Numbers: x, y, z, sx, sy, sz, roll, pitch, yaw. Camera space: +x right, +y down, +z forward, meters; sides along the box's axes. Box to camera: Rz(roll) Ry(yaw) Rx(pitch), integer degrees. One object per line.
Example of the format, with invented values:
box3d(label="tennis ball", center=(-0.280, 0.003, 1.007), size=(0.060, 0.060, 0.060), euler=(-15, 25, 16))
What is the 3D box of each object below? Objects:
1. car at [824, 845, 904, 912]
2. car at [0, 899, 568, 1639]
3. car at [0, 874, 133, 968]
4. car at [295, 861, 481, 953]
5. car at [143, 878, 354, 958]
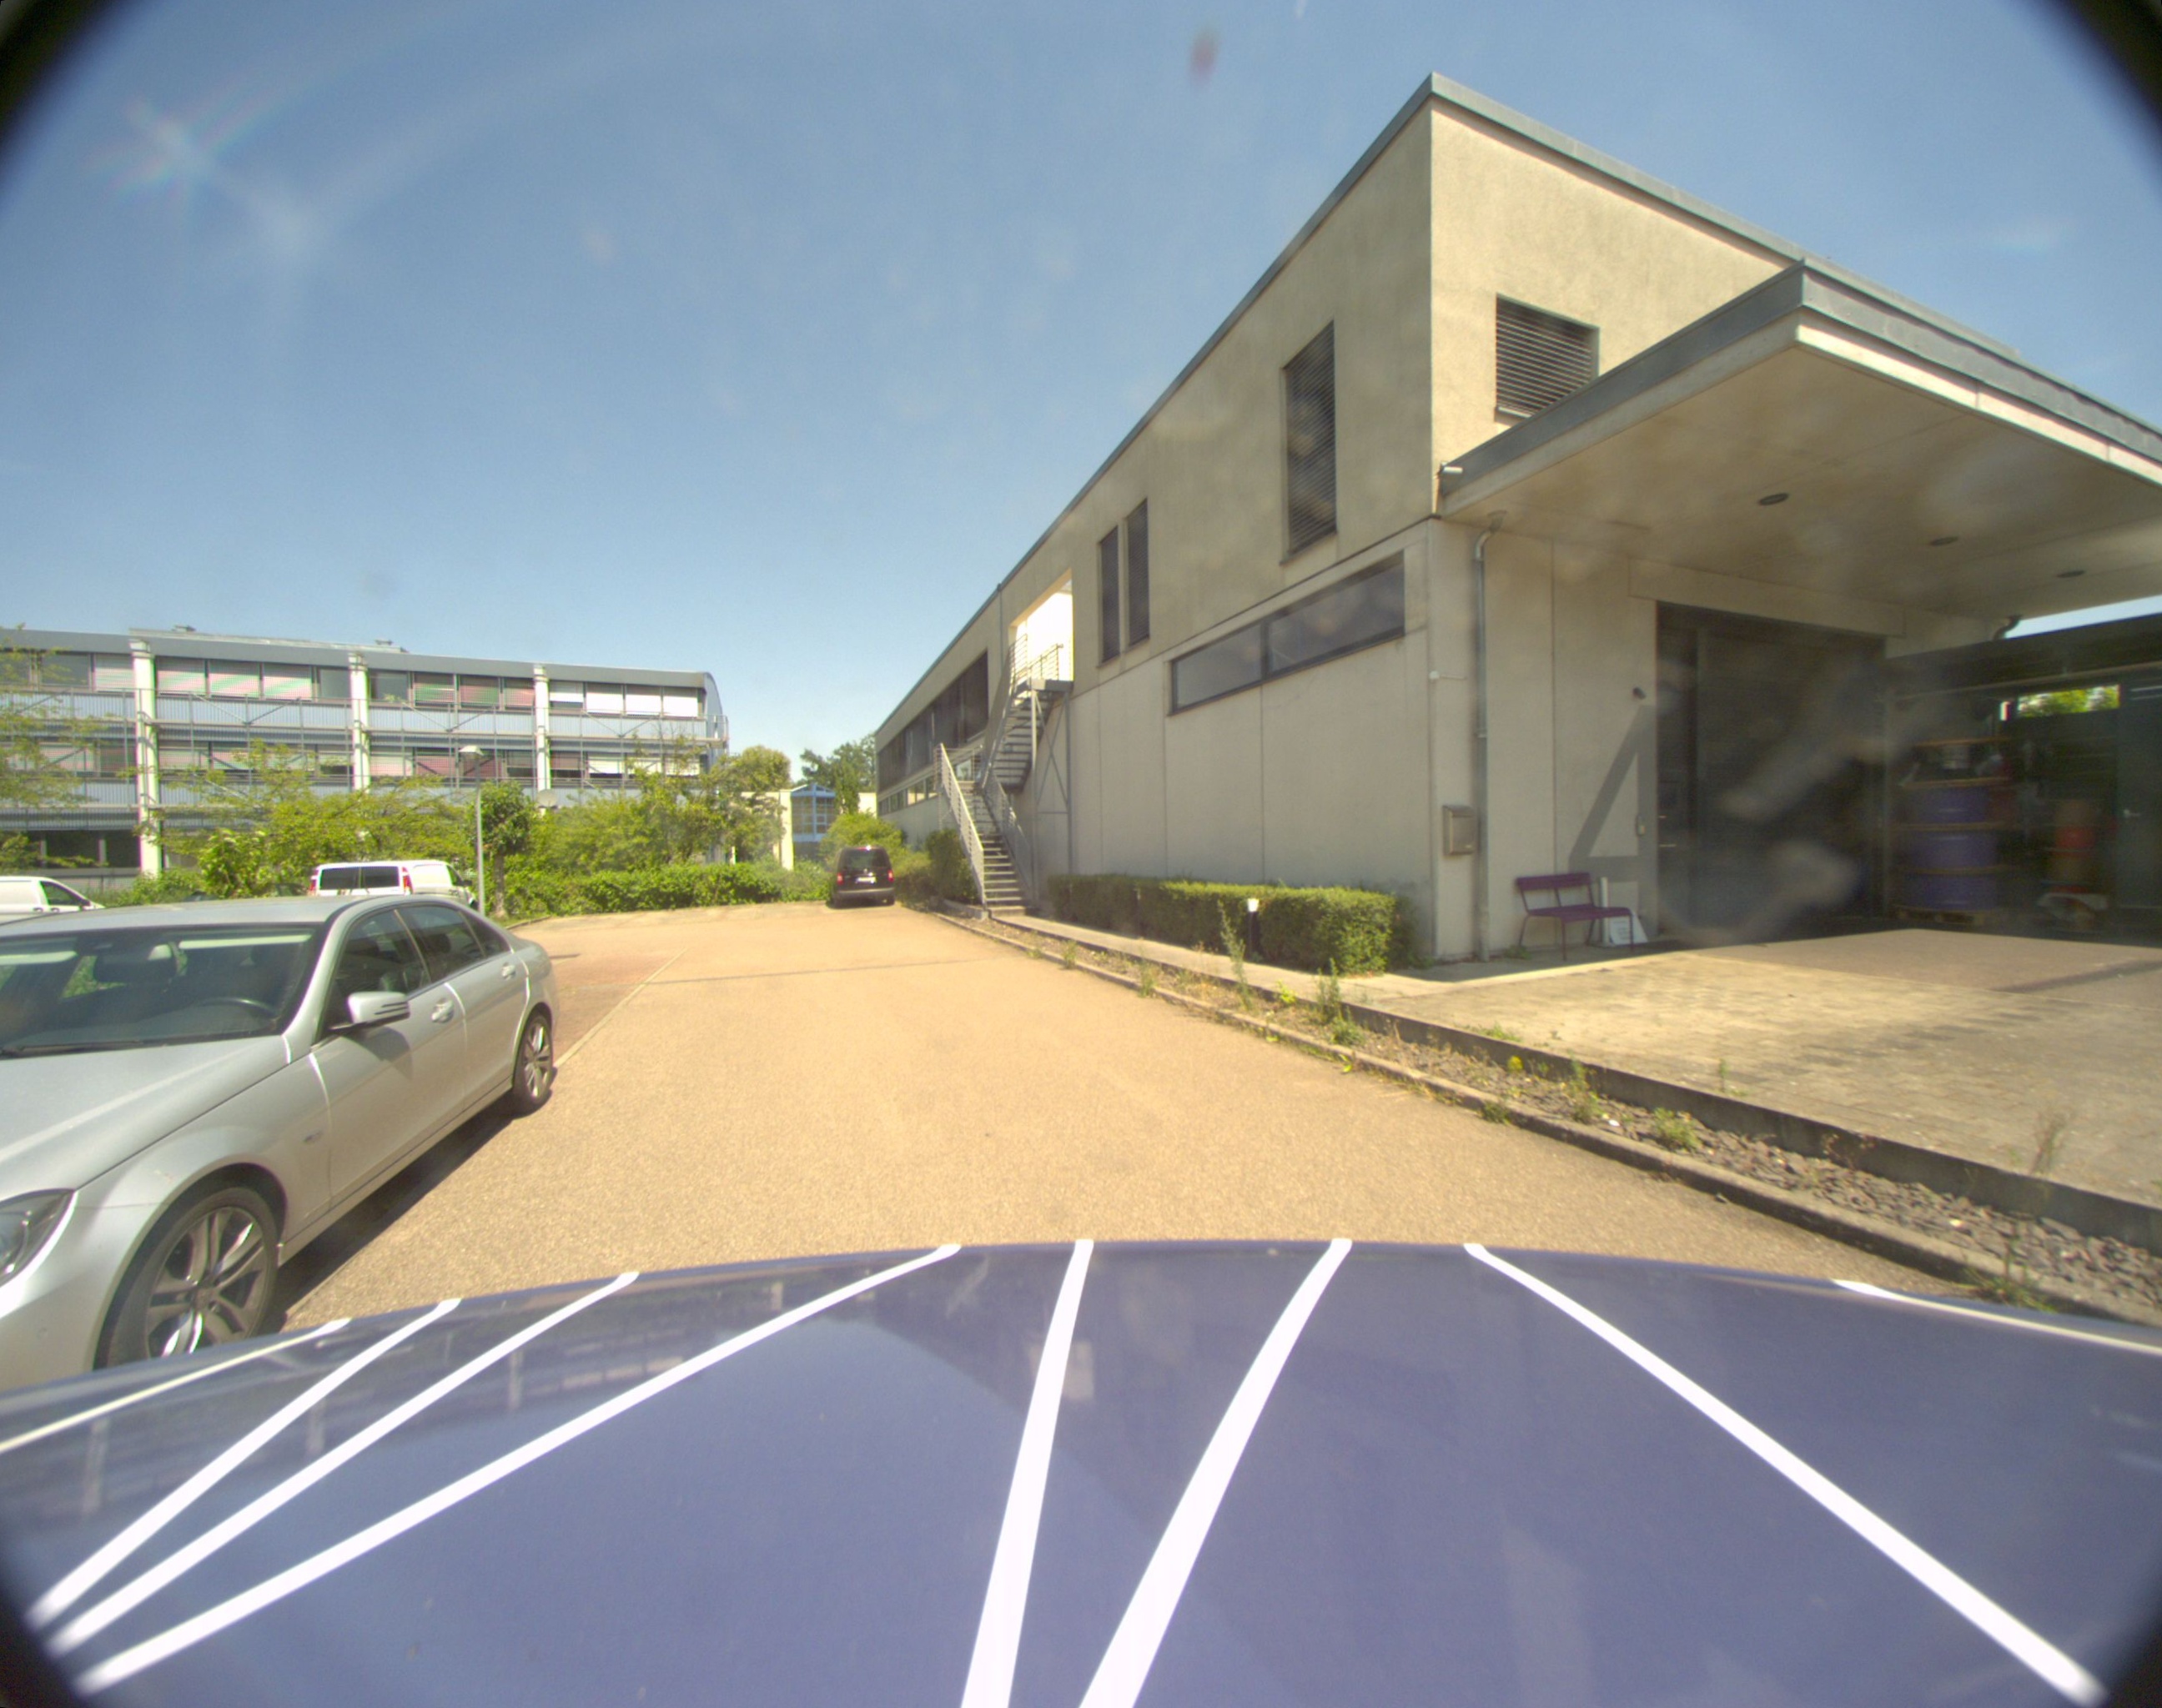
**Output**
box3d(label="car", center=(-6.934, 0.695, 24.021), size=(1.870, 1.849, 4.220), euler=(-3, 1, -23))
box3d(label="car", center=(-3.832, 1.057, 3.042), size=(1.806, 1.390, 4.412), euler=(-2, 1, -19))
box3d(label="car", center=(-23.711, 1.483, 16.294), size=(1.858, 1.845, 4.926), euler=(-3, 2, -20))
box3d(label="car", center=(-17.023, 1.179, 19.005), size=(1.870, 1.849, 4.668), euler=(-3, 1, -23))
box3d(label="car", center=(-19.754, 1.425, 18.317), size=(1.741, 1.475, 4.189), euler=(-3, 1, -23))
